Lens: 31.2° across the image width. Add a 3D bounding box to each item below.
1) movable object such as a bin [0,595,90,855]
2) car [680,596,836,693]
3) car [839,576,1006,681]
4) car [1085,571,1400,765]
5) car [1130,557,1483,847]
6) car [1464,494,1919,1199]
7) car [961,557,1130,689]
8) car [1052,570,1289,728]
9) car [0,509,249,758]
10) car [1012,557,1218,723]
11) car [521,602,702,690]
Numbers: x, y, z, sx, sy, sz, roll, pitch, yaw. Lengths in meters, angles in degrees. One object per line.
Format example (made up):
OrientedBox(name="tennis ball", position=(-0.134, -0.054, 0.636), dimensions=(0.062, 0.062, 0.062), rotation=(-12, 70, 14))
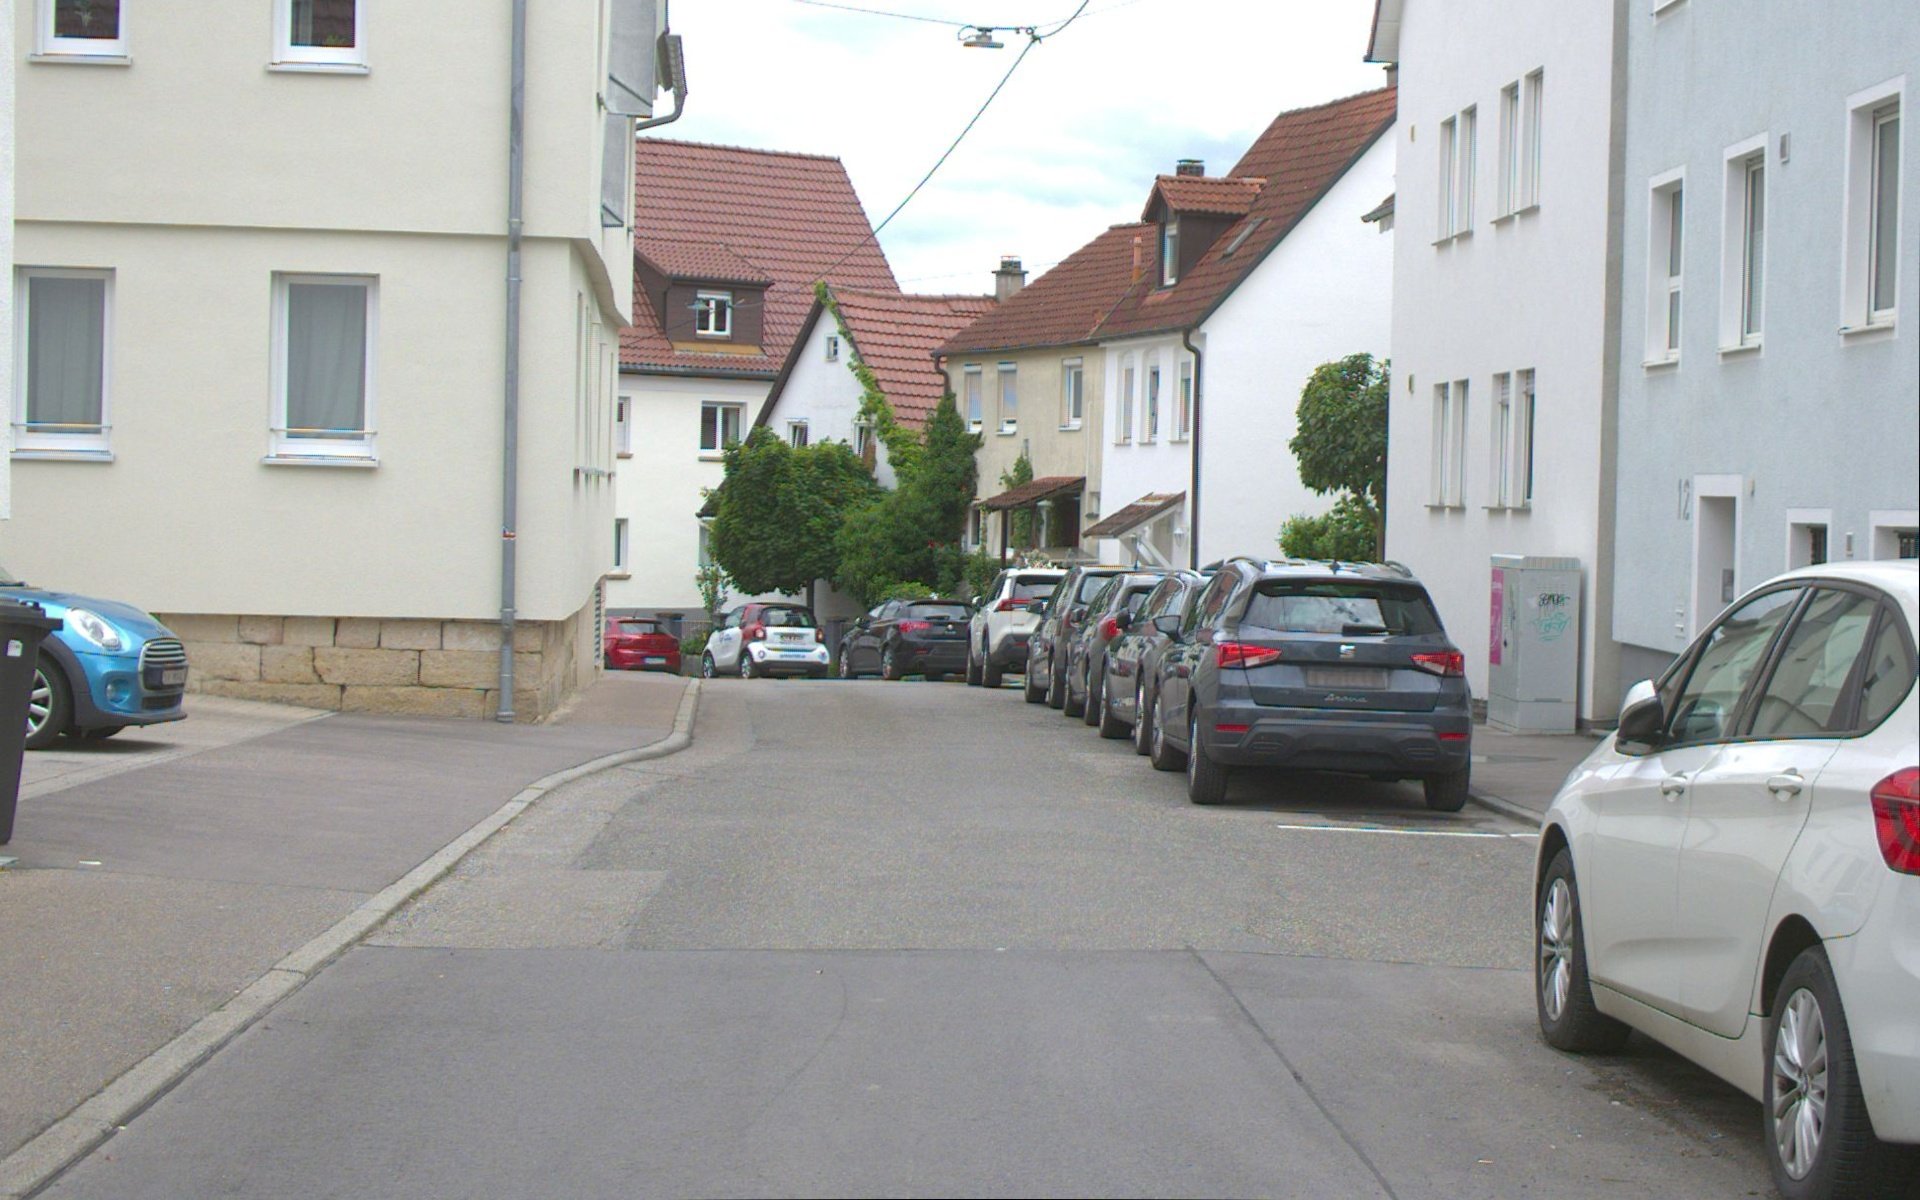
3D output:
OrientedBox(name="movable object such as a bin", position=(-4.240, 0.518, 14.723), dimensions=(0.615, 1.072, 0.752), rotation=(4, 0, 20))
OrientedBox(name="car", position=(-4.000, 0.846, 67.431), dimensions=(1.962, 1.707, 4.001), rotation=(2, 1, -19))
OrientedBox(name="car", position=(-0.679, 0.518, 58.577), dimensions=(1.993, 1.707, 4.001), rotation=(1, -2, -14))
OrientedBox(name="car", position=(2.137, 0.478, 27.289), dimensions=(1.918, 1.405, 4.656), rotation=(0, 0, -3))
OrientedBox(name="car", position=(2.156, 0.574, 22.562), dimensions=(1.753, 1.622, 4.535), rotation=(3, 1, 0))
OrientedBox(name="car", position=(2.779, 0.590, 9.395), dimensions=(1.993, 1.610, 4.879), rotation=(3, 1, 0))
OrientedBox(name="car", position=(1.134, 0.319, 47.690), dimensions=(1.873, 1.707, 4.148), rotation=(1, 0, -5))
OrientedBox(name="car", position=(1.913, 0.447, 32.365), dimensions=(1.796, 1.347, 4.075), rotation=(2, -1, -2))
OrientedBox(name="car", position=(-6.596, 0.114, 21.435), dimensions=(3.731, 1.407, 2.120), rotation=(4, -1, 3))
OrientedBox(name="car", position=(1.648, 0.422, 37.842), dimensions=(1.736, 1.605, 4.000), rotation=(4, 0, -4))
OrientedBox(name="car", position=(-7.404, 0.983, 72.754), dimensions=(1.994, 1.678, 3.999), rotation=(-3, 0, -36))
